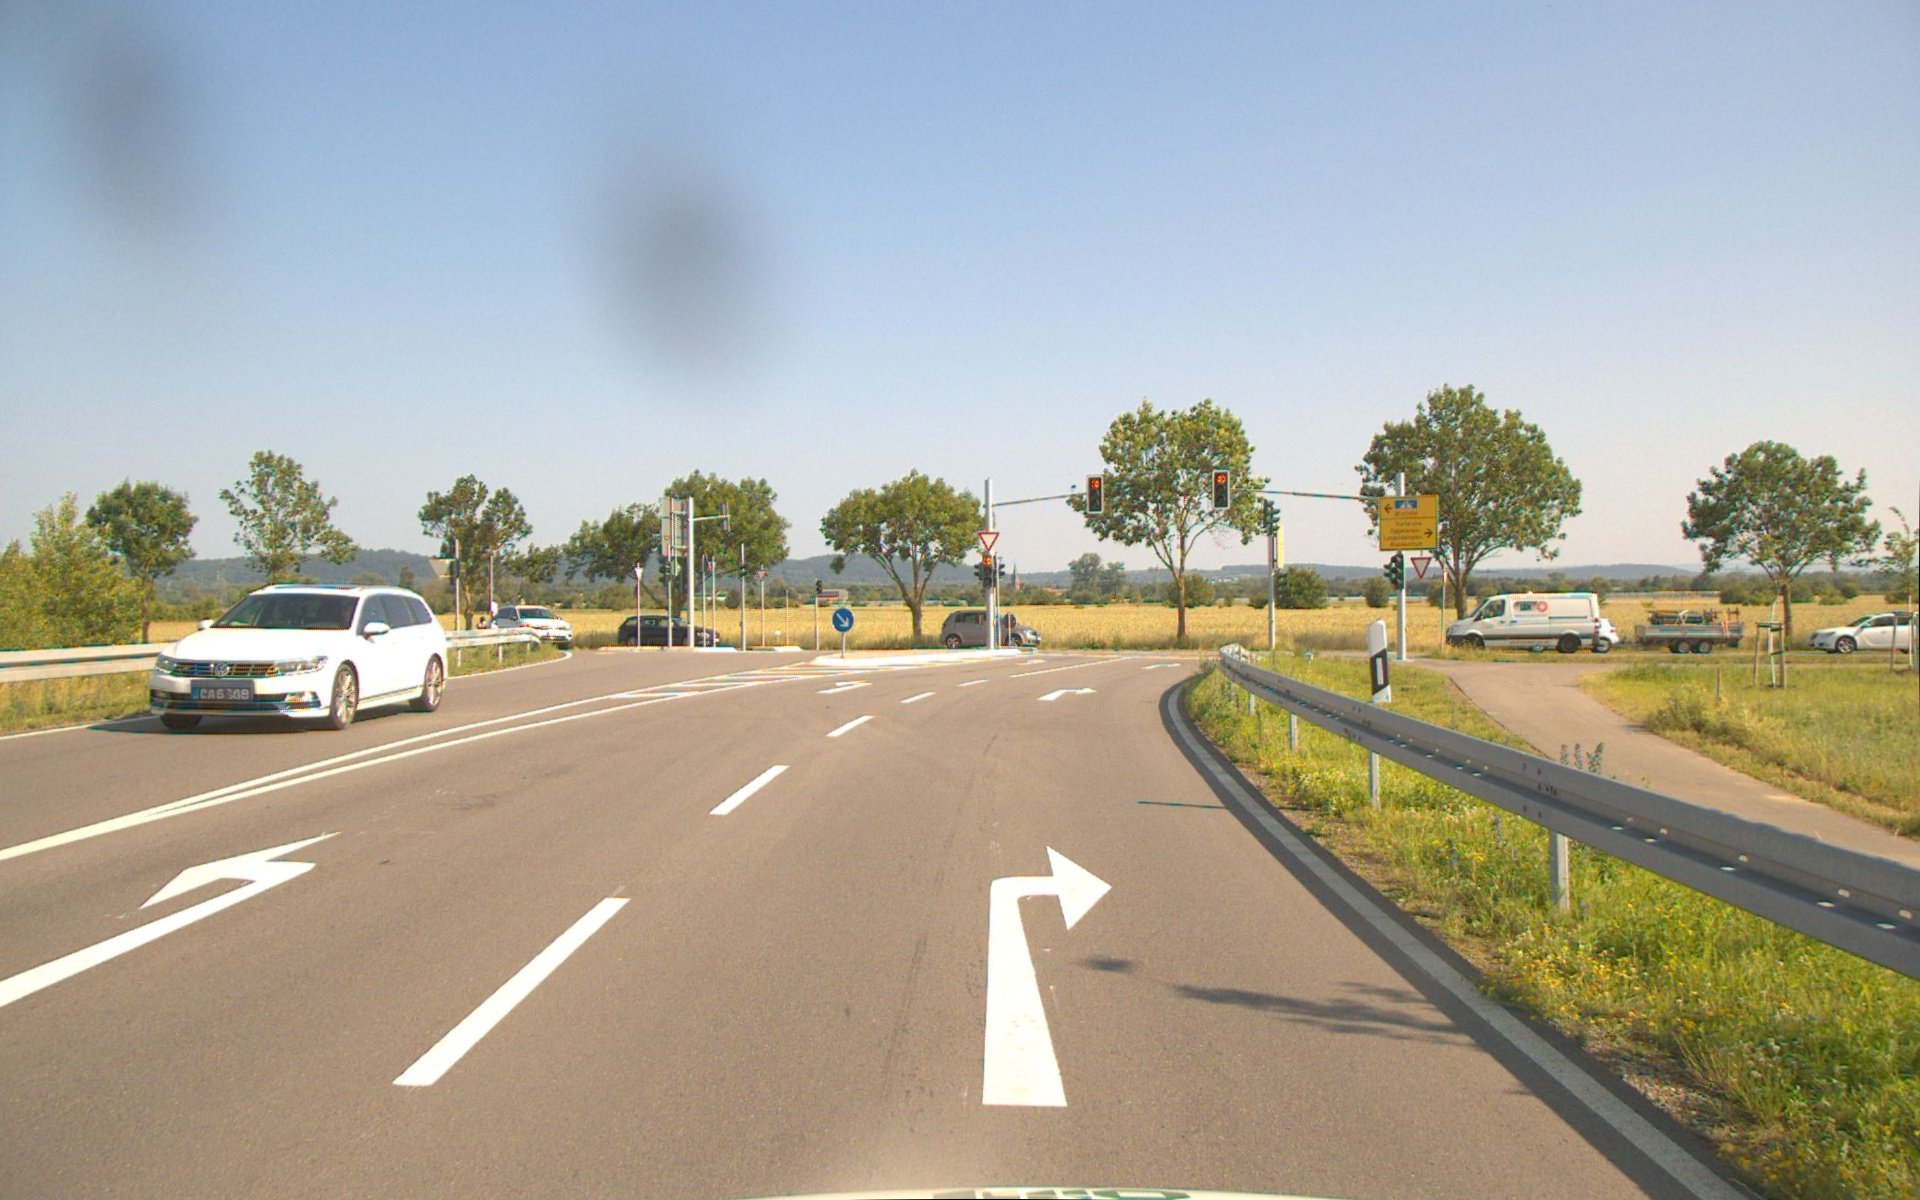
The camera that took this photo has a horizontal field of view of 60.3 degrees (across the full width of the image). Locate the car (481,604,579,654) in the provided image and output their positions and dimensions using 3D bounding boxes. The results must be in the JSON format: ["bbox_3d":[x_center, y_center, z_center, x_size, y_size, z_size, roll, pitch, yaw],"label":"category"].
[{"bbox_3d":[-16.079,1.117,61.719,1.681,1.703,4.793,3,-4,-39],"label":"car"}]

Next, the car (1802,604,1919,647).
[{"bbox_3d":[34.754,0.982,62.564,4.764,1.536,2.001,1,-1,11],"label":"car"}]

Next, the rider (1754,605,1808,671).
[{"bbox_3d":[21.342,0.977,43.019,0.811,1.671,0.980,-1,1,-33],"label":"rider"}]

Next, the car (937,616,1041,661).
[{"bbox_3d":[1.198,1.538,67.013,3.871,1.697,1.765,1,-1,15],"label":"car"}]

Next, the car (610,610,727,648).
[{"bbox_3d":[-12.569,1.256,71.361,4.573,1.545,1.924,0,1,14],"label":"car"}]

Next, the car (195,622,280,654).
[{"bbox_3d":[-35.820,1.905,81.994,3.650,1.482,1.729,-1,0,21],"label":"car"}]

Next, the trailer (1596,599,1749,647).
[{"bbox_3d":[27.496,0.898,63.996,5.148,1.784,1.955,0,-1,14],"label":"trailer"}]

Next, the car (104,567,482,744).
[{"bbox_3d":[-7.133,0.485,18.416,2.071,1.519,5.154,2,2,0],"label":"car"}]

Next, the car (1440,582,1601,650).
[{"bbox_3d":[22.078,0.631,65.342,5.830,2.536,2.001,1,-1,14],"label":"car"}]

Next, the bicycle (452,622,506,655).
[{"bbox_3d":[-22.309,1.782,76.720,2.439,1.421,0.732,1,-1,20],"label":"bicycle"}]
